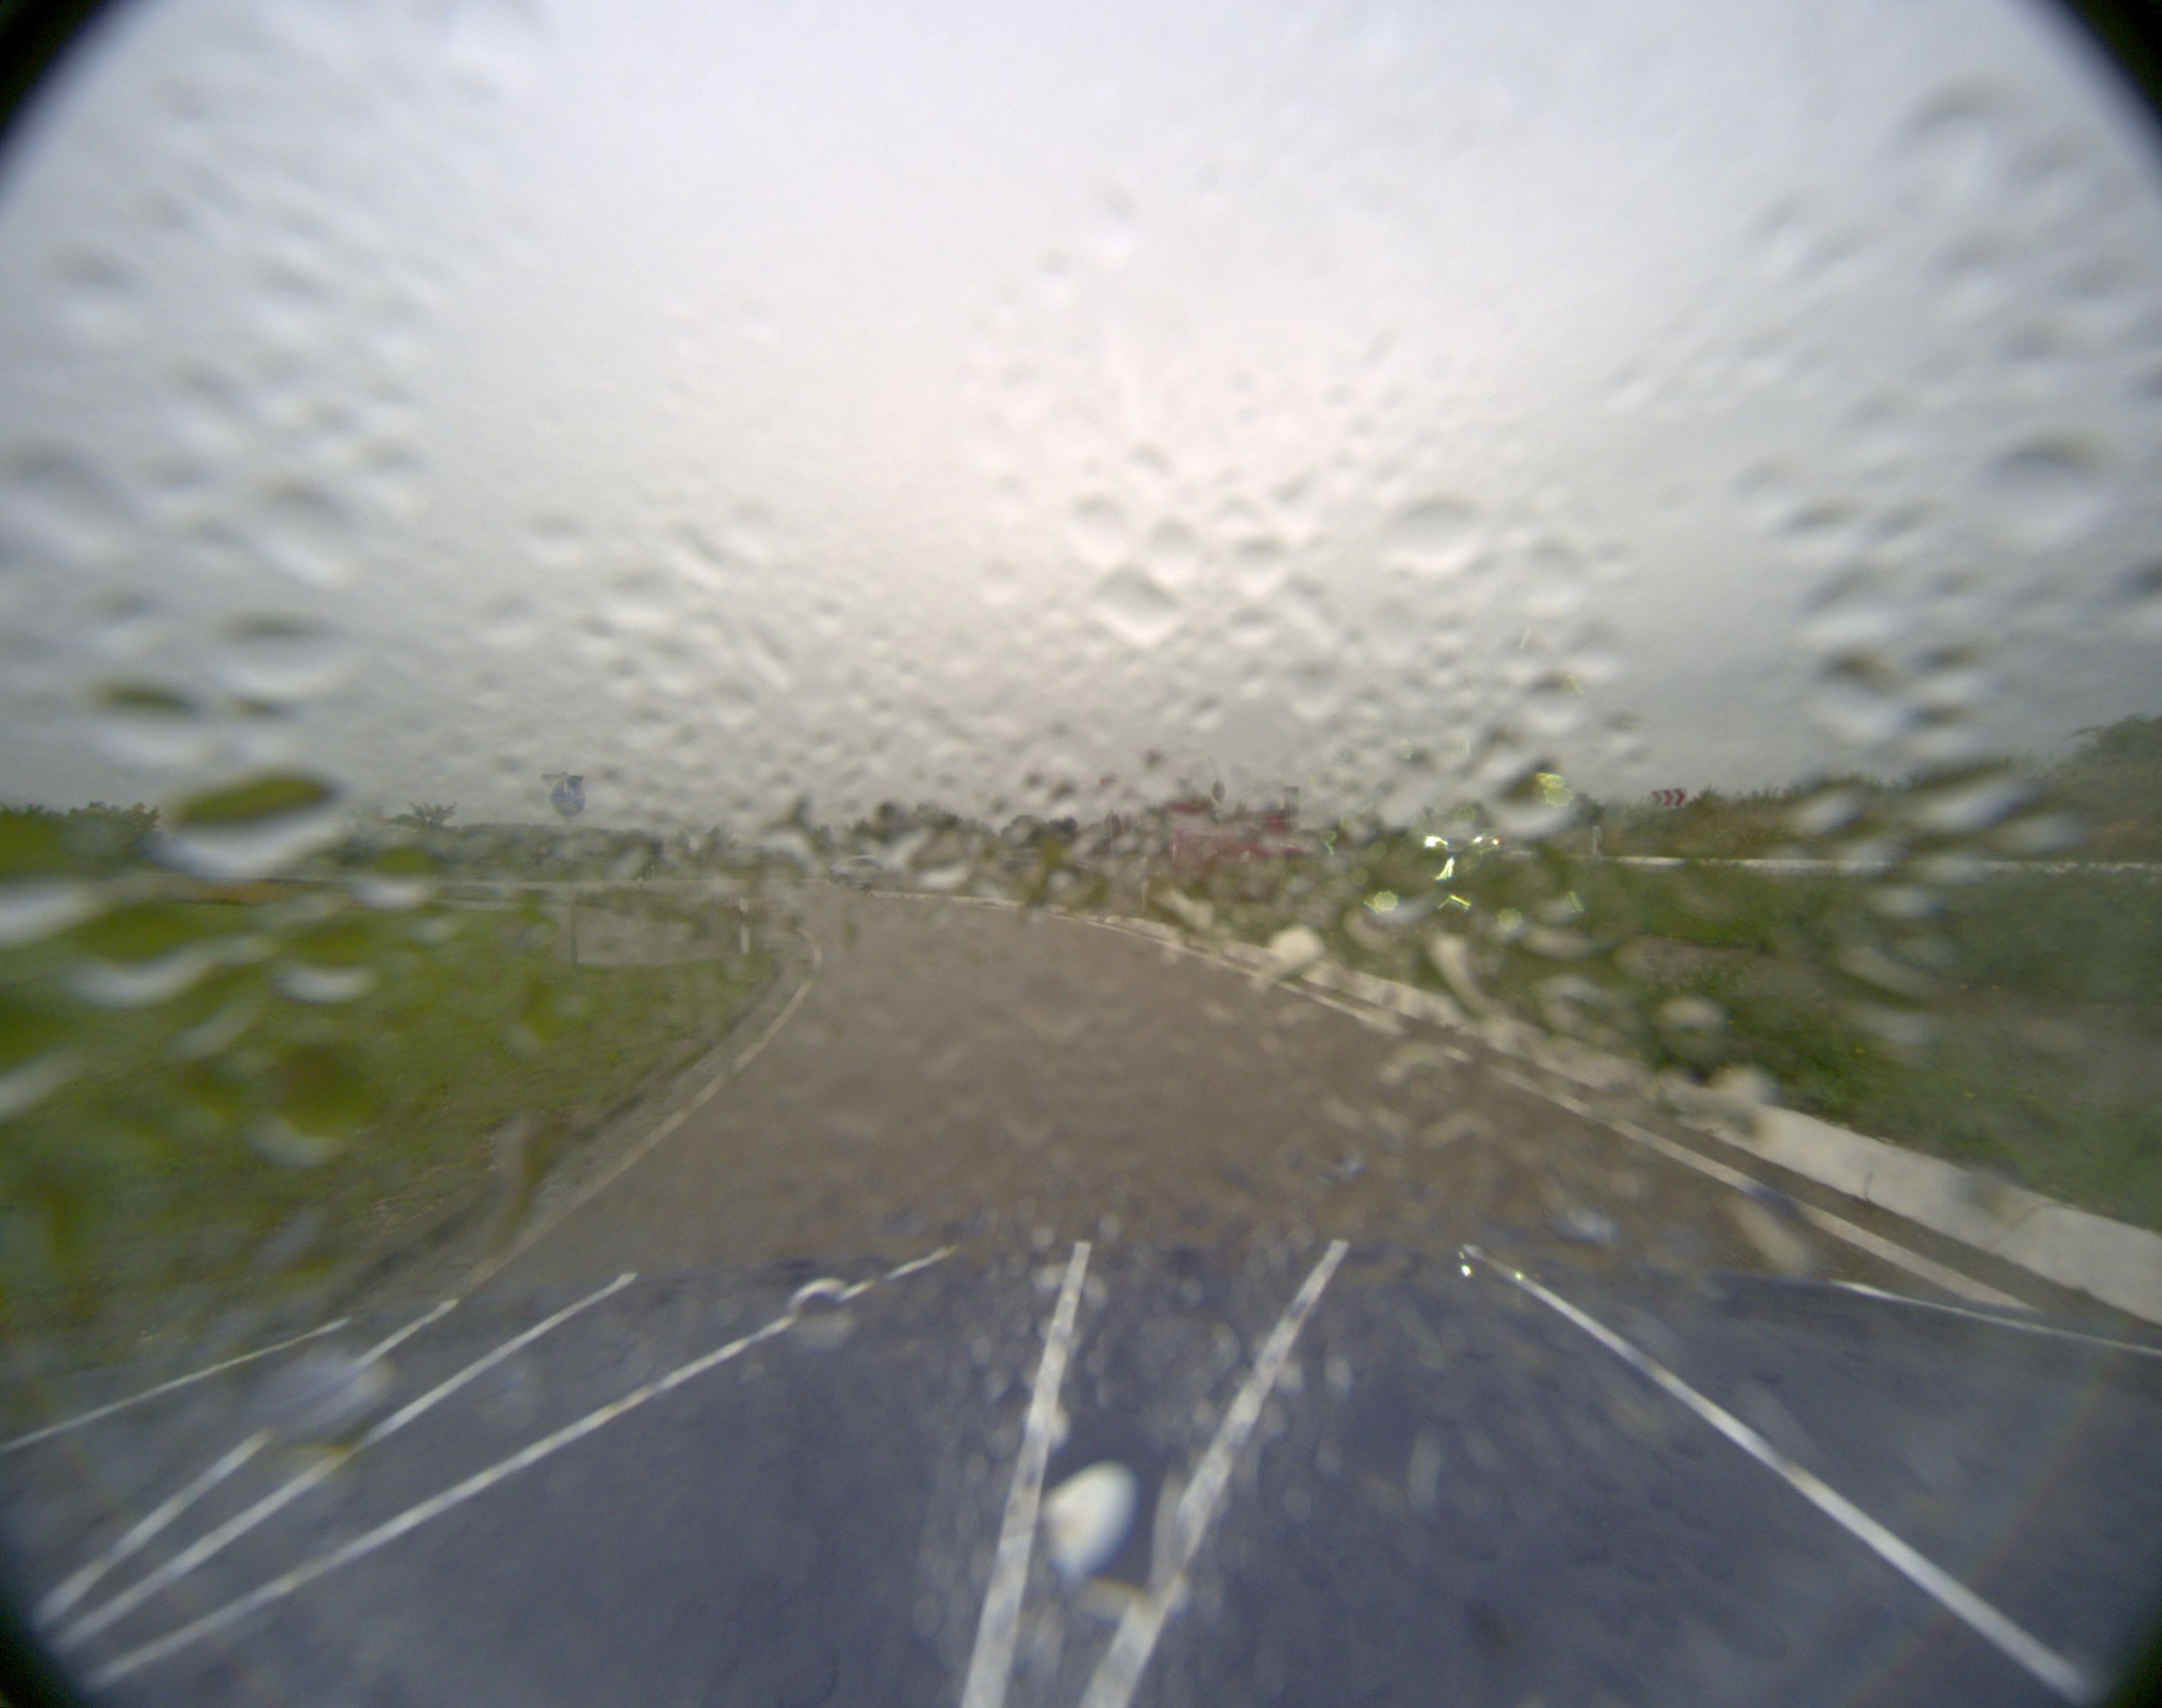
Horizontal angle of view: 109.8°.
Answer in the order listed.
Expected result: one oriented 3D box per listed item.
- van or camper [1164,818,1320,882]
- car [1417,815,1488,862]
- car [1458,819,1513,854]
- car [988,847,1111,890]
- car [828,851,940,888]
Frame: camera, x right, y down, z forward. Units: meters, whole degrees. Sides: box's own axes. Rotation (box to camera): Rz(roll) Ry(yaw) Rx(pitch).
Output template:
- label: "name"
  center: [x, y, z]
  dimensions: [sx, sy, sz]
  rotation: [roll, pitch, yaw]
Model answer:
- label: "van or camper"
  center: [5.562, -0.124, 26.540]
  dimensions: [4.833, 2.003, 2.003]
  rotation: [-1, 3, 37]
- label: "car"
  center: [14.309, -0.654, 29.468]
  dimensions: [1.996, 1.565, 4.505]
  rotation: [-4, 1, 21]
- label: "car"
  center: [20.895, -0.931, 39.173]
  dimensions: [1.822, 1.581, 4.007]
  rotation: [-4, 0, 37]
- label: "car"
  center: [-1.287, 0.591, 30.843]
  dimensions: [4.513, 1.593, 2.003]
  rotation: [-2, 0, 27]
- label: "car"
  center: [-9.003, 0.716, 34.685]
  dimensions: [4.651, 1.473, 2.002]
  rotation: [-1, 3, 24]
